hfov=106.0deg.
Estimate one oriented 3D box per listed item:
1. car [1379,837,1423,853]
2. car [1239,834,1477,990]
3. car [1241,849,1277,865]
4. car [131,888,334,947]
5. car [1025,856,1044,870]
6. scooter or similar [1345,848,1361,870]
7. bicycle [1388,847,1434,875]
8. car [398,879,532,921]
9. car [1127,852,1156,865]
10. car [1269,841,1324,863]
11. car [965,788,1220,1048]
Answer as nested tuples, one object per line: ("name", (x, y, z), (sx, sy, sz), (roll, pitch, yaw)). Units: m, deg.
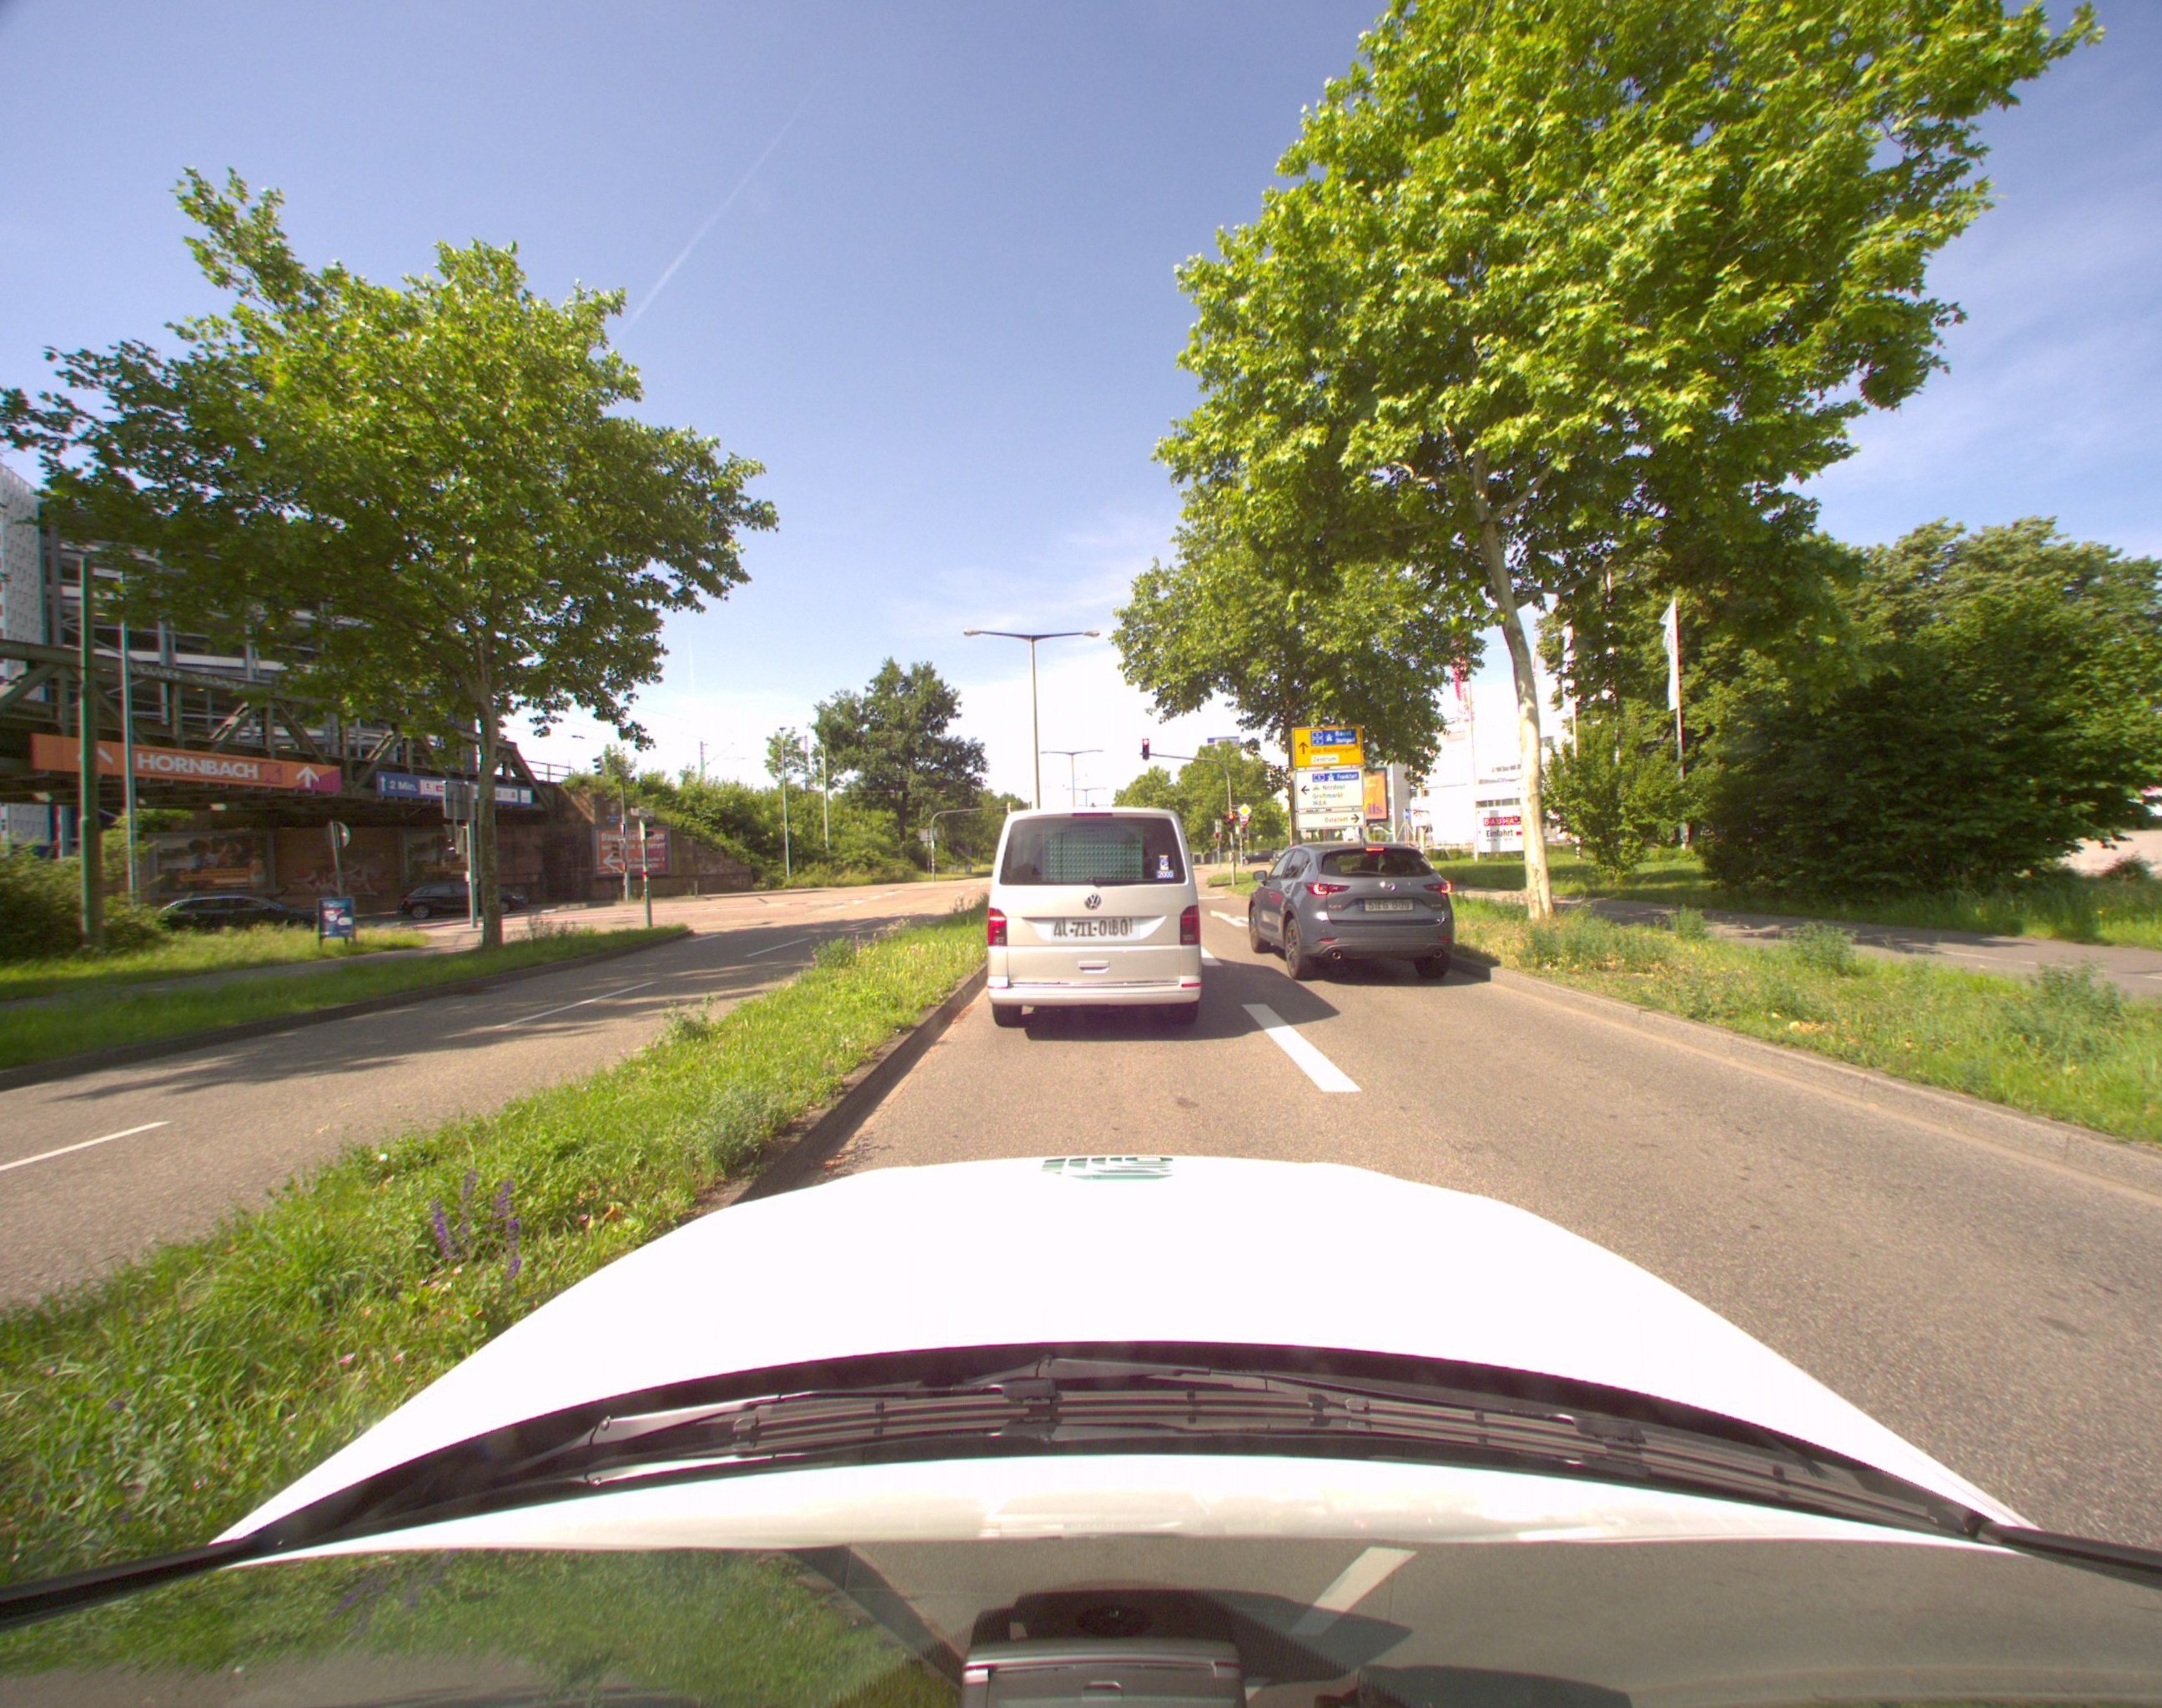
("car", (32.019, -0.883, 81.416), (4.646, 1.444, 1.762), (-3, 0, -35))
("car", (3.413, 0.628, 11.018), (1.759, 1.659, 4.497), (-1, 0, 1))
("car", (18.135, 0.325, 83.103), (3.571, 1.566, 2.007), (-1, -1, 12))
("car", (-25.660, 1.883, 24.856), (3.959, 1.481, 1.804), (-1, -1, -34))
("car", (-5.305, 1.016, 92.778), (1.844, 1.561, 3.999), (-3, 0, 0))
("scooter or similar", (14.106, 0.244, 42.211), (0.423, 1.126, 1.124), (-3, 0, 1))
("bicycle", (14.190, 0.304, 35.072), (1.771, 1.108, 0.506), (-4, -1, 20))
("car", (-25.604, 1.884, 34.073), (4.353, 1.395, 1.752), (-3, 0, -35))
("car", (7.189, 0.587, 97.330), (1.781, 1.444, 4.598), (-3, 0, -18))
("car", (18.168, -0.174, 68.560), (4.646, 1.689, 1.895), (-3, 0, -35))
("car", (0.167, 0.506, 8.855), (1.934, 1.971, 5.024), (-2, 0, 2))
